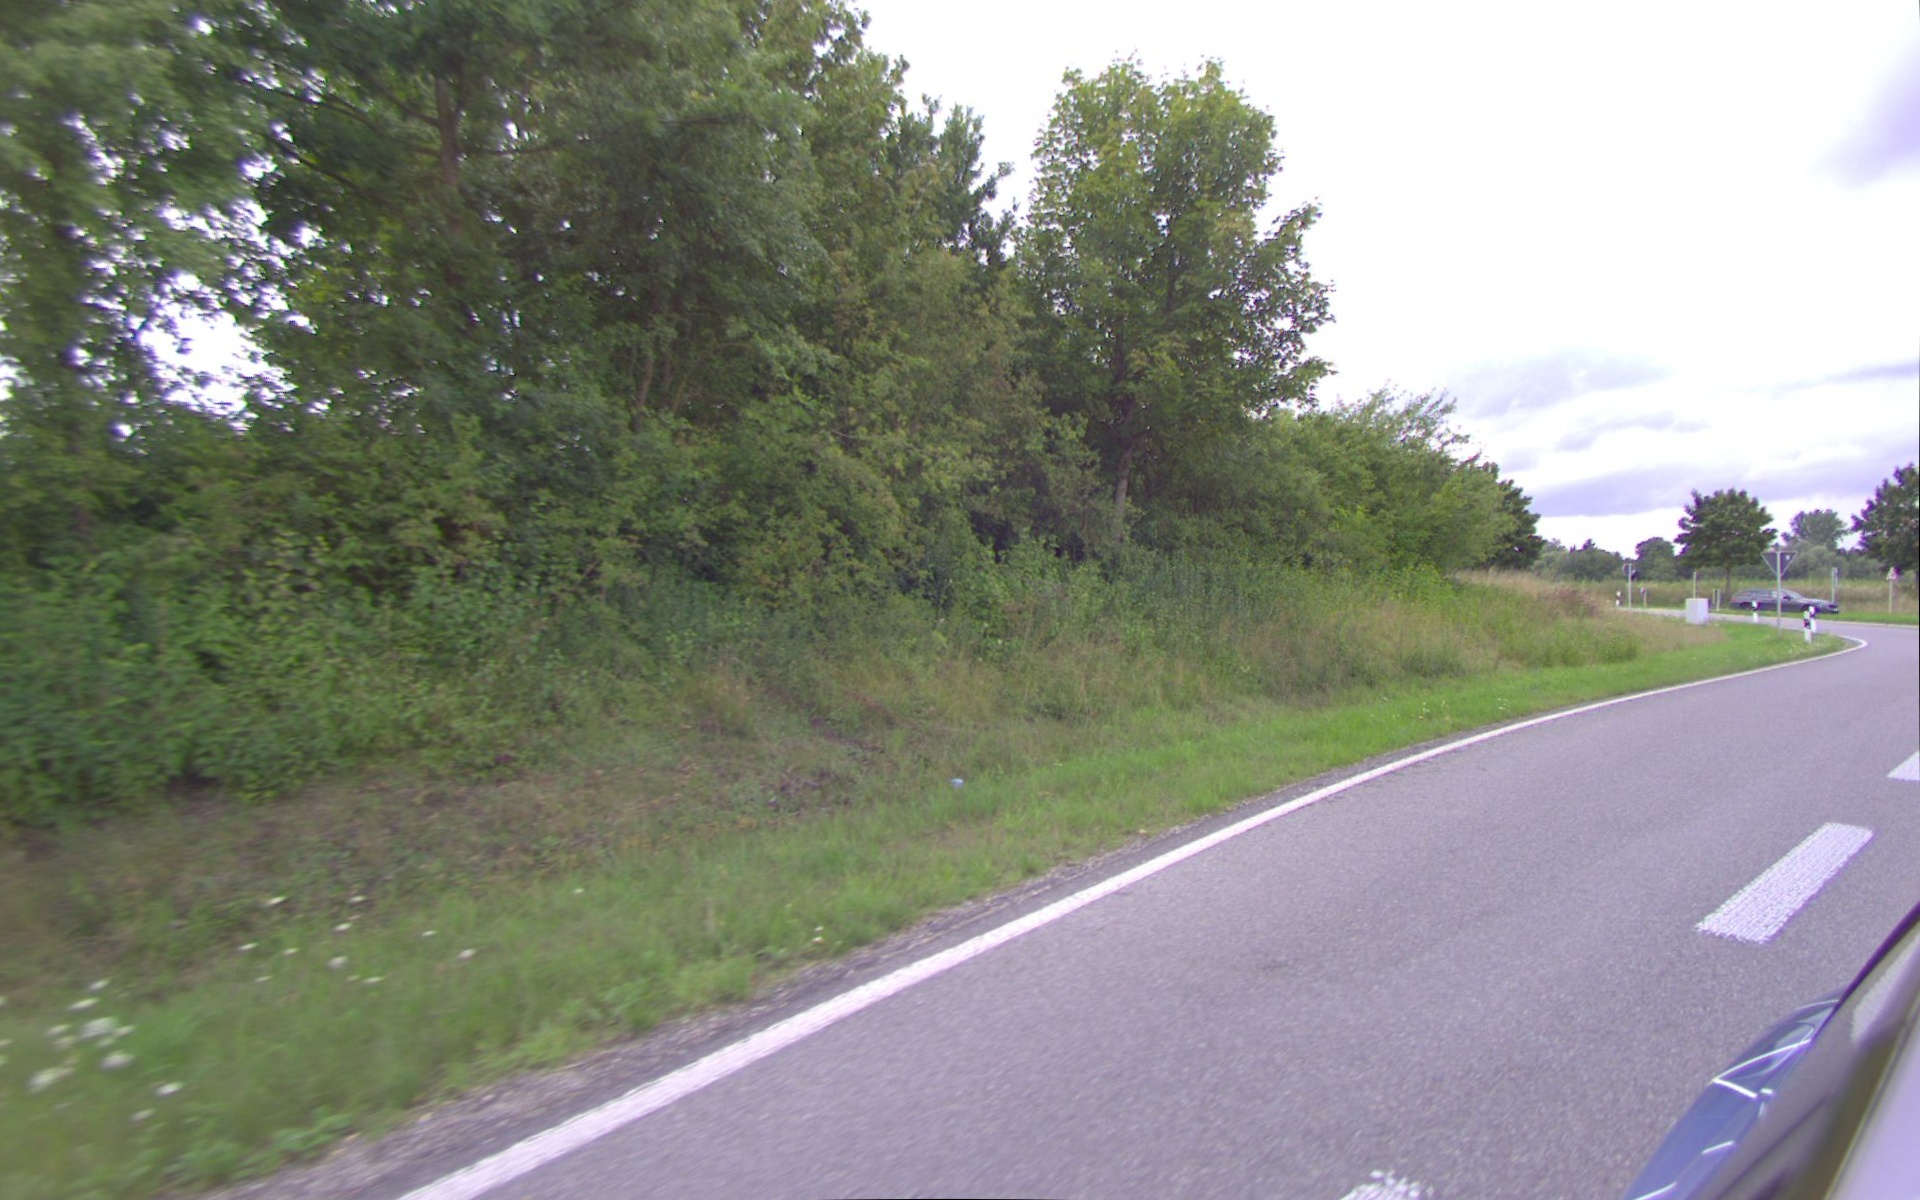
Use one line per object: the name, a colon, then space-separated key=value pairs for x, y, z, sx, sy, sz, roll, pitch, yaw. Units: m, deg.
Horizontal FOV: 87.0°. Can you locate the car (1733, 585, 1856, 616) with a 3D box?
car: x=44.527 y=-0.009 z=54.106 sx=1.960 sy=1.522 sz=4.672 roll=0 pitch=1 yaw=-31
